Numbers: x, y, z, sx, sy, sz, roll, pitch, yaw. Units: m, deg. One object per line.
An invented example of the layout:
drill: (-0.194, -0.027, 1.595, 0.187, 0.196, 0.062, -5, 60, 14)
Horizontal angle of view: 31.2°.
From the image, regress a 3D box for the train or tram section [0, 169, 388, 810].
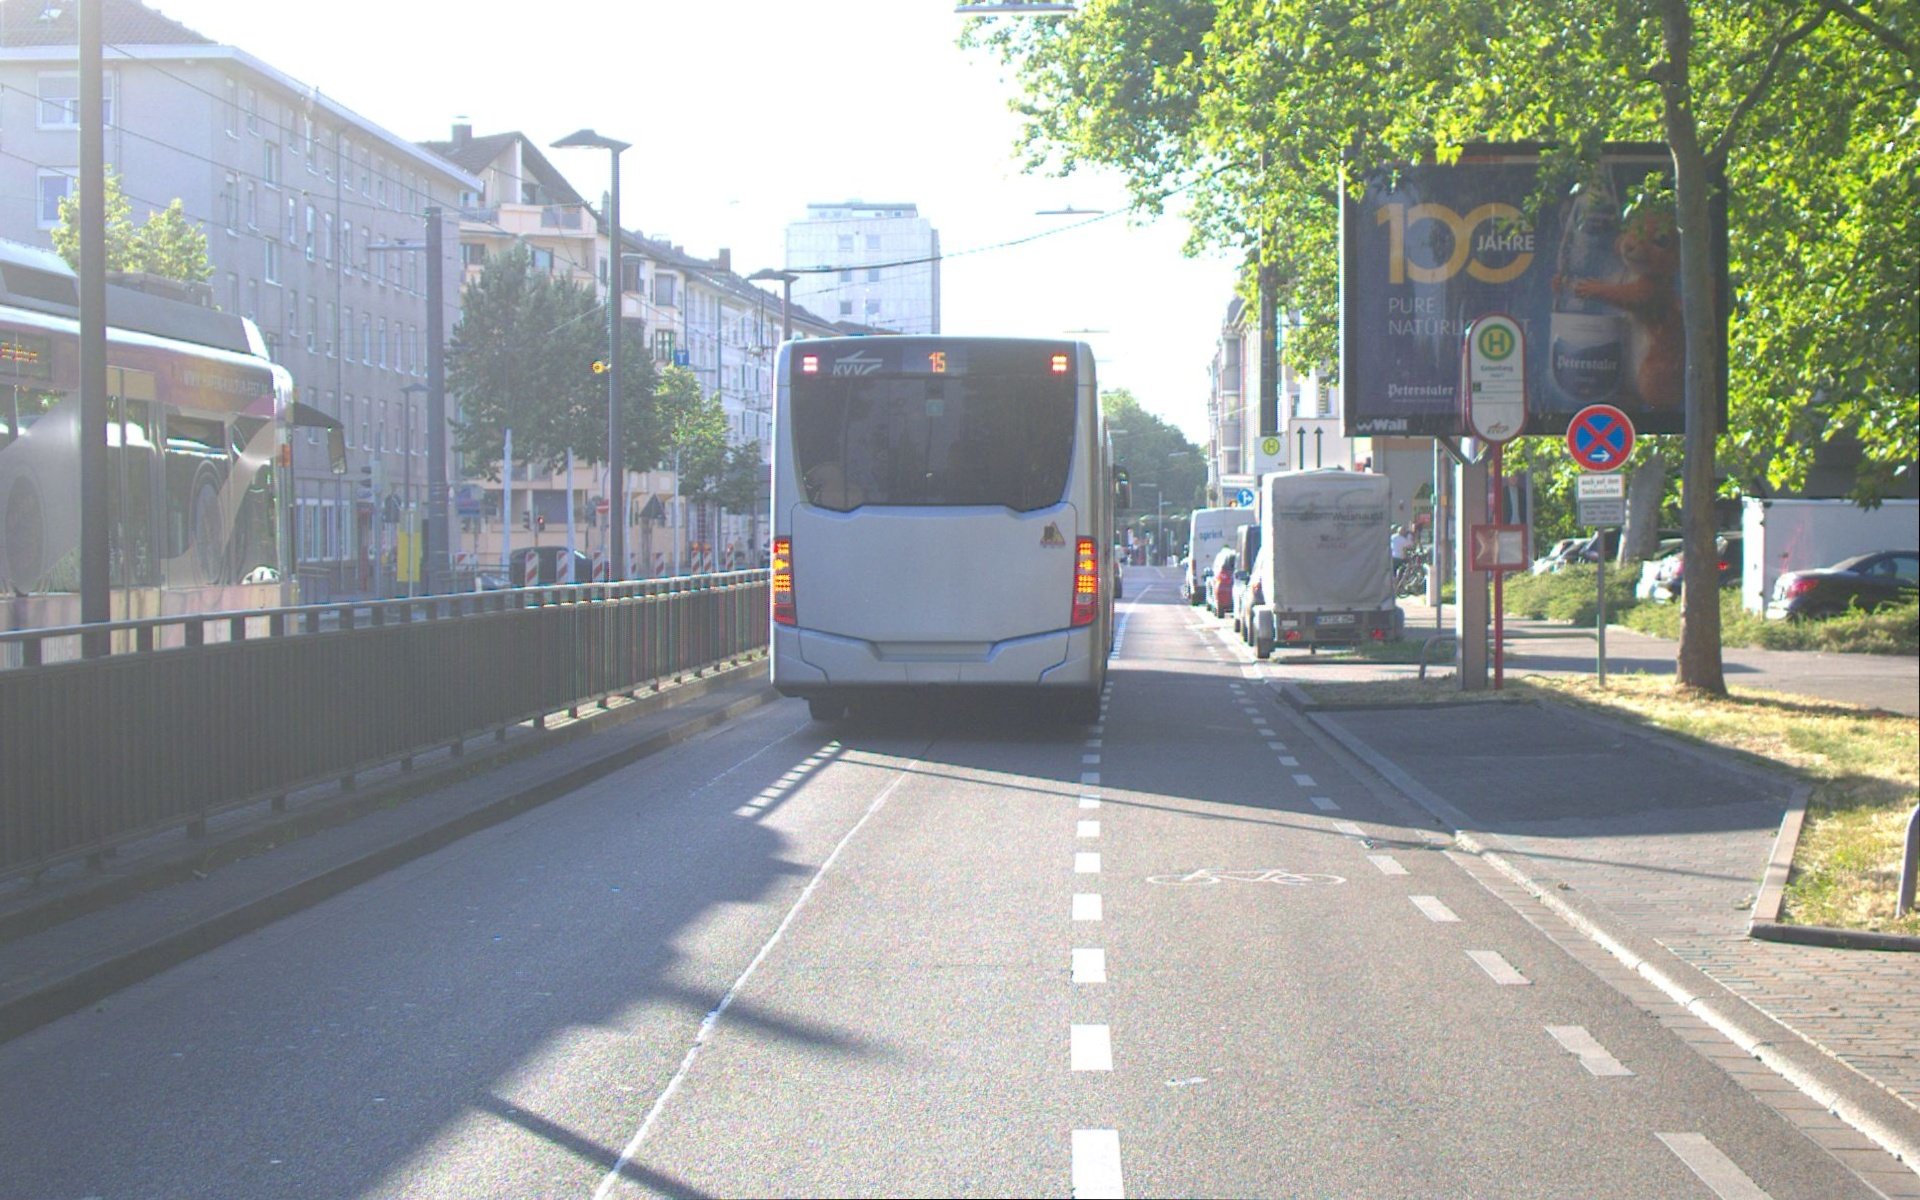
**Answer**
train or tram section: (-6.415, -0.659, 21.952, 2.641, 3.507, 13.333, 0, 1, 3)

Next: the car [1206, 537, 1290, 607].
car: (6.404, -0.626, 76.761, 1.671, 1.458, 3.933, -2, 1, 3)

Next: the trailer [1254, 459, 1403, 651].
trailer: (5.077, -0.631, 47.650, 1.833, 2.549, 3.318, -1, 1, 3)

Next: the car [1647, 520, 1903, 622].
car: (13.624, -0.487, 57.615, 3.921, 1.632, 1.706, -1, 1, 3)

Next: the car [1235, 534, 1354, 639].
car: (5.298, -0.232, 54.769, 1.701, 1.583, 3.827, -1, 1, 3)

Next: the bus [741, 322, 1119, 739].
bus: (0.018, -0.631, 31.177, 2.733, 3.128, 10.702, 0, 1, 3)

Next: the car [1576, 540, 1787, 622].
car: (14.443, -0.387, 68.980, 3.921, 1.583, 1.706, -1, 1, 3)

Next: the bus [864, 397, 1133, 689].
bus: (0.630, -0.698, 40.978, 2.709, 3.096, 8.979, 0, 1, 4)

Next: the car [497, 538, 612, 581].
car: (-15.663, -1.565, 132.928, 4.135, 1.612, 2.000, 0, 1, 1)

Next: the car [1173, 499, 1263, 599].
car: (6.934, -1.371, 92.808, 2.282, 2.618, 5.309, -1, 1, 3)

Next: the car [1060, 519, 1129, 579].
car: (4.132, -1.576, 104.922, 1.994, 1.809, 4.000, 0, 1, 4)

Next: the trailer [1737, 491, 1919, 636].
trailer: (13.000, -0.543, 49.997, 3.064, 2.062, 1.878, 0, 1, 4)

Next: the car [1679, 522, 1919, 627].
car: (13.681, -0.412, 55.247, 3.921, 1.631, 1.706, -1, 1, 3)

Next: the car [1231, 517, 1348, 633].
car: (5.784, -0.457, 60.777, 1.847, 1.950, 4.543, -1, 1, 3)

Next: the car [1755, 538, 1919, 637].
car: (13.071, -0.190, 47.305, 3.921, 1.331, 1.706, -1, 1, 4)
